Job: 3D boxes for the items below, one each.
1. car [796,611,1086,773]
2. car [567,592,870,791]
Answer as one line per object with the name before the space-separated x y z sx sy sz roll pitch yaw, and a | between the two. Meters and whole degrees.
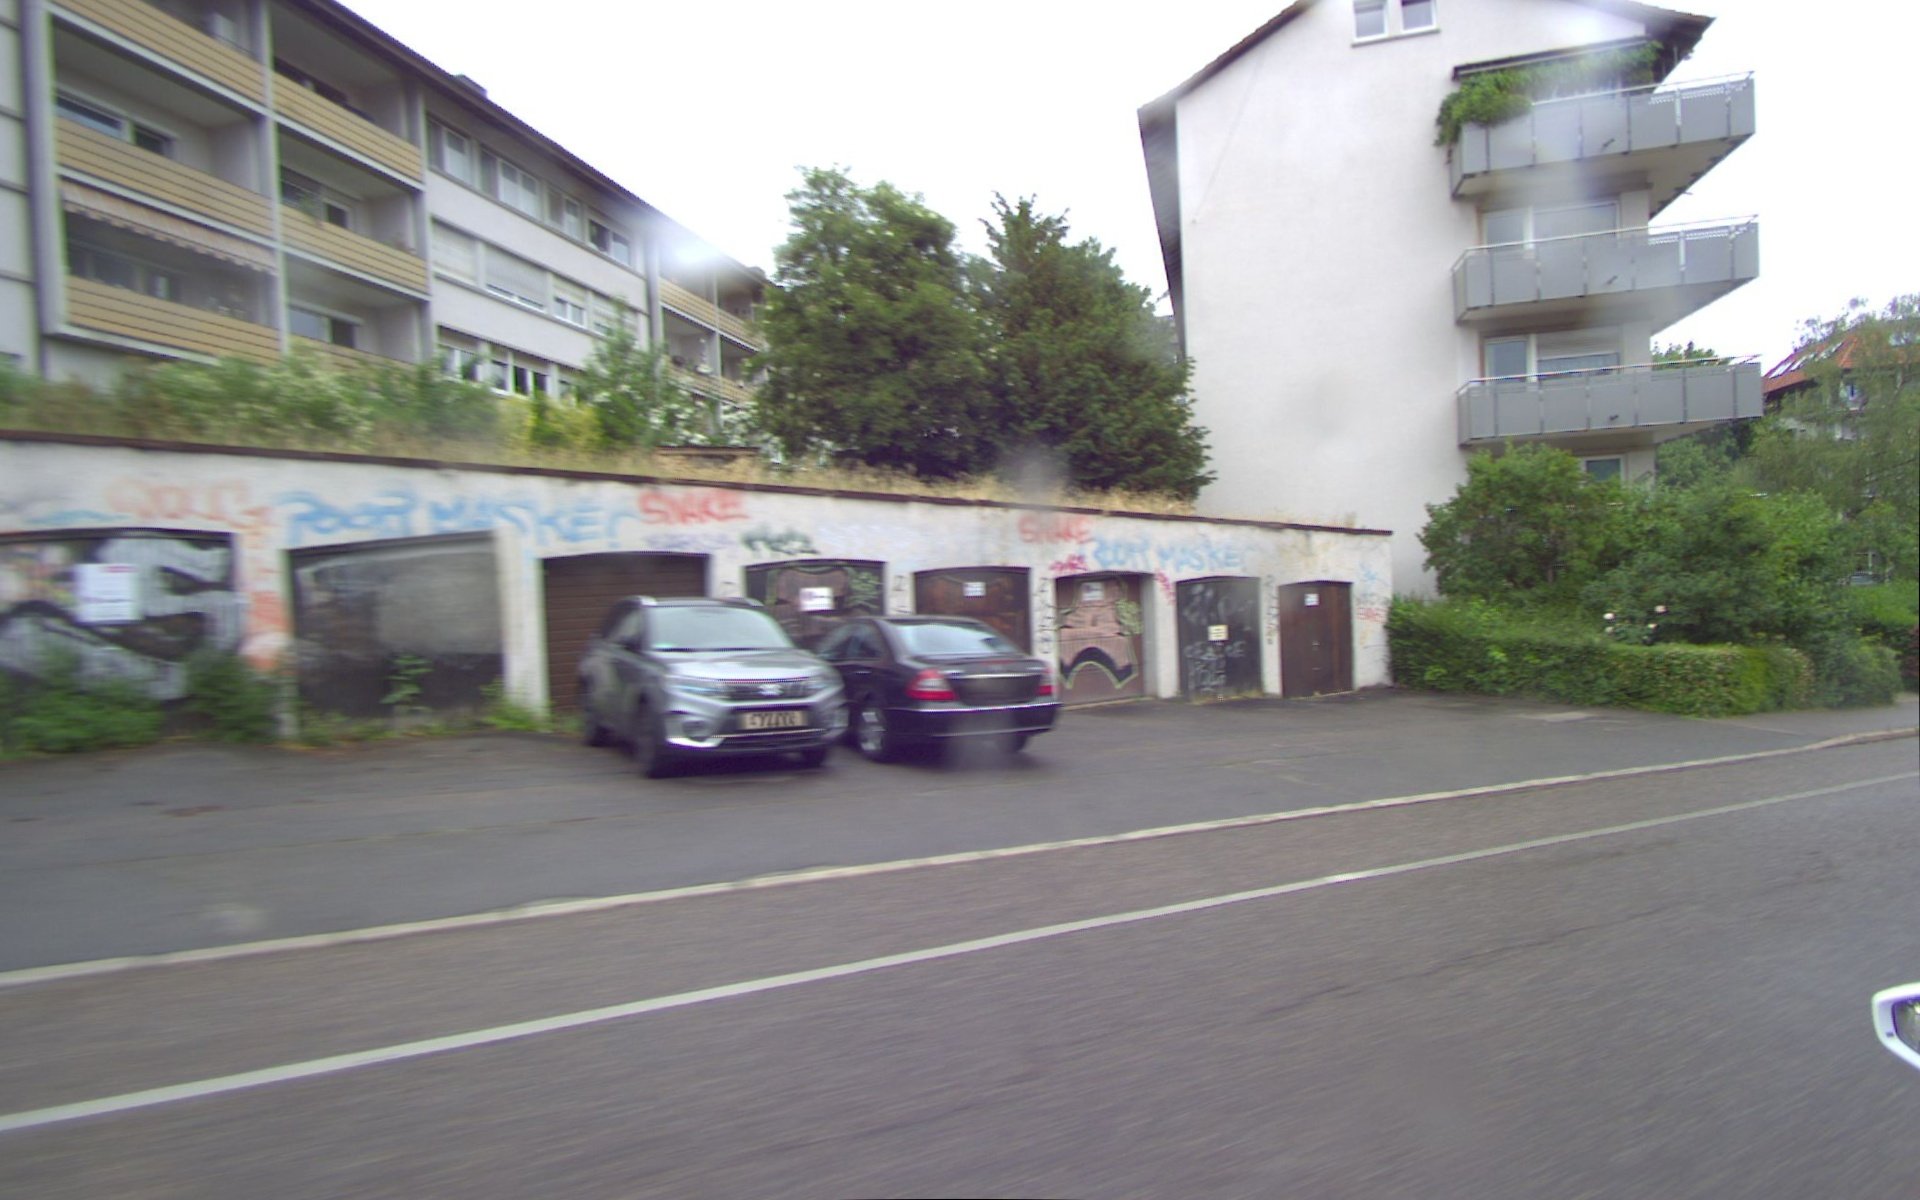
car | -0.381 0.878 11.157 1.761 1.426 3.616 2 -1 -28
car | -2.629 0.748 10.176 1.859 1.580 3.966 2 -1 -31
